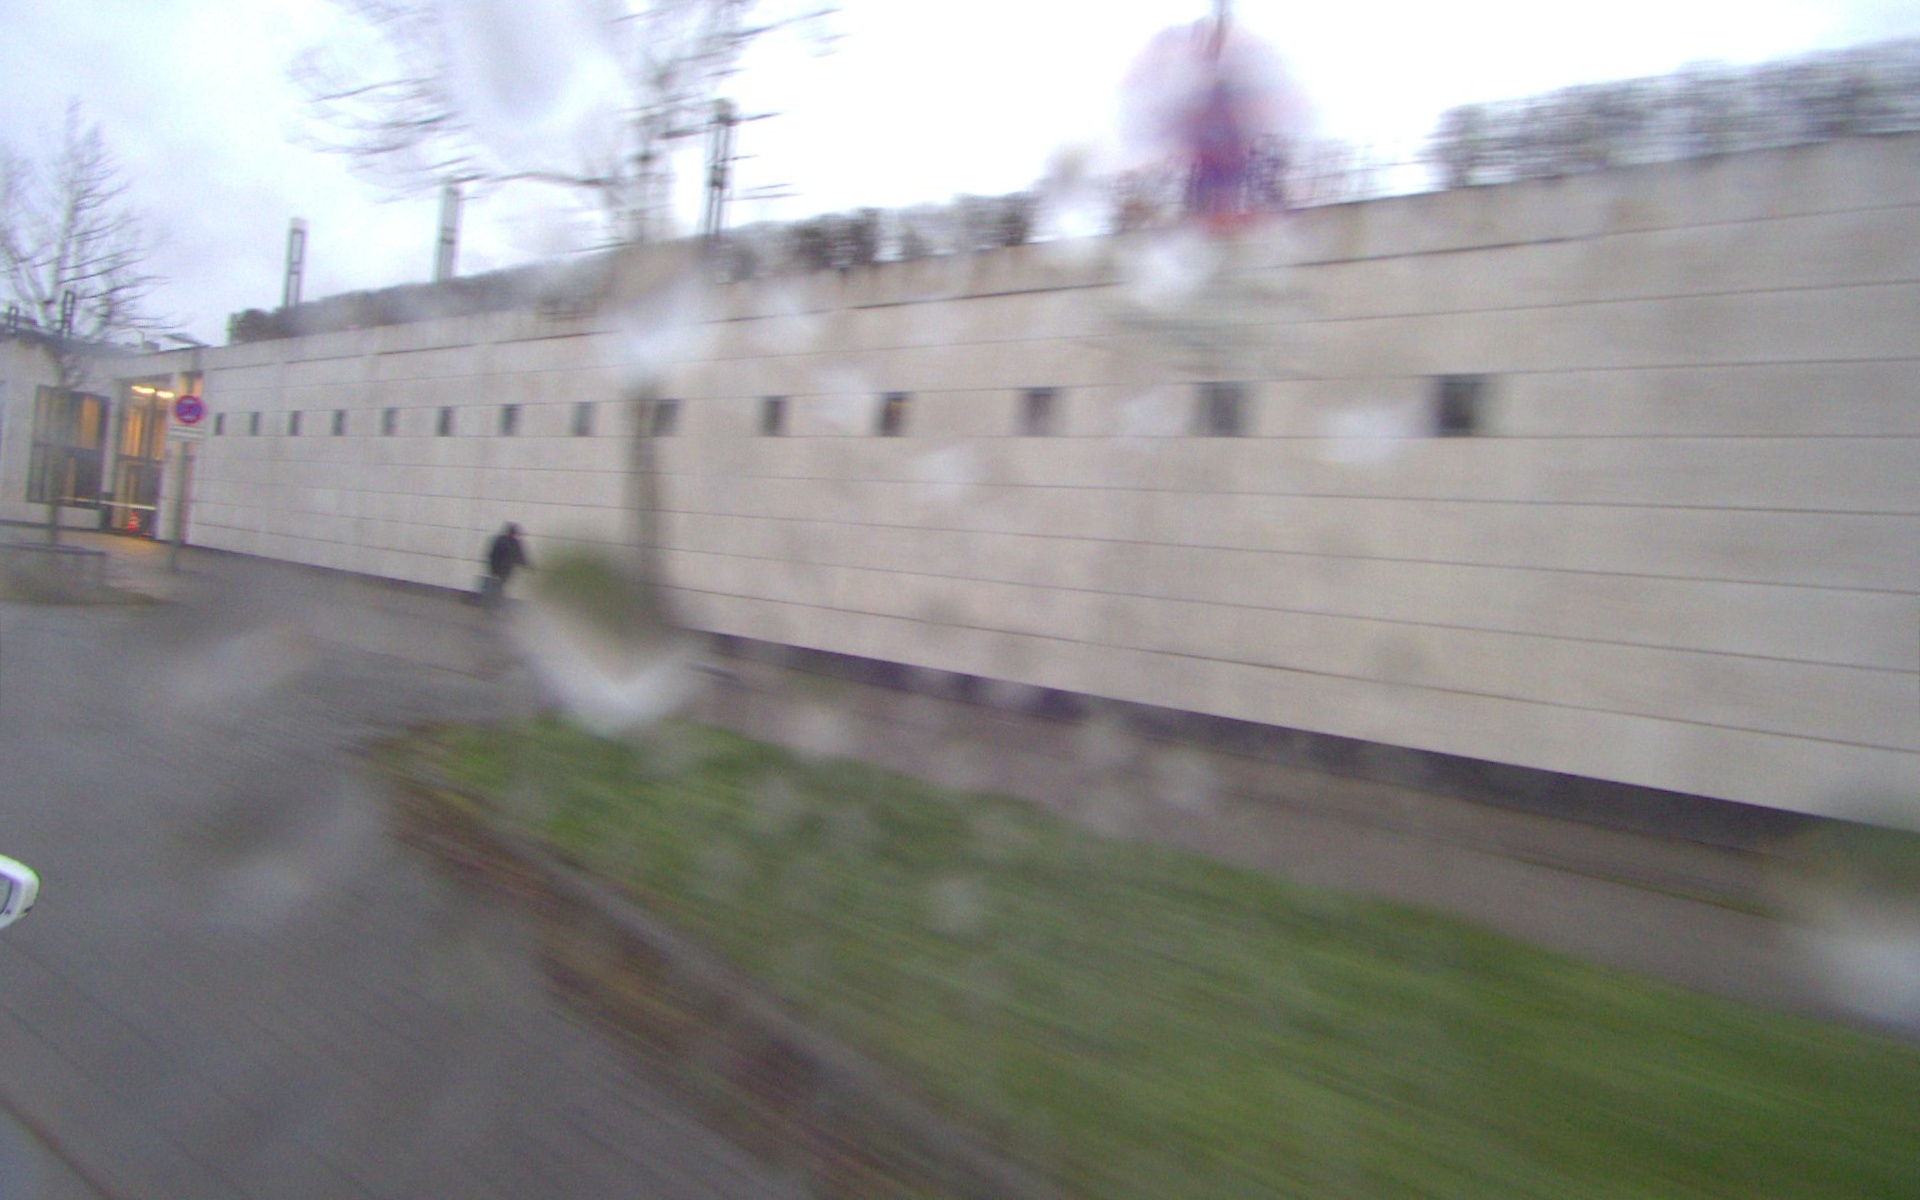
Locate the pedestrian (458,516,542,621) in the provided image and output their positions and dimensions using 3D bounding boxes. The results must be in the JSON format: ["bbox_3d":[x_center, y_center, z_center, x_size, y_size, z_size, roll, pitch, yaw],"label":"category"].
[{"bbox_3d":[-7.683,-0.511,16.822,0.683,1.639,0.938,7,2,32],"label":"pedestrian"}]
